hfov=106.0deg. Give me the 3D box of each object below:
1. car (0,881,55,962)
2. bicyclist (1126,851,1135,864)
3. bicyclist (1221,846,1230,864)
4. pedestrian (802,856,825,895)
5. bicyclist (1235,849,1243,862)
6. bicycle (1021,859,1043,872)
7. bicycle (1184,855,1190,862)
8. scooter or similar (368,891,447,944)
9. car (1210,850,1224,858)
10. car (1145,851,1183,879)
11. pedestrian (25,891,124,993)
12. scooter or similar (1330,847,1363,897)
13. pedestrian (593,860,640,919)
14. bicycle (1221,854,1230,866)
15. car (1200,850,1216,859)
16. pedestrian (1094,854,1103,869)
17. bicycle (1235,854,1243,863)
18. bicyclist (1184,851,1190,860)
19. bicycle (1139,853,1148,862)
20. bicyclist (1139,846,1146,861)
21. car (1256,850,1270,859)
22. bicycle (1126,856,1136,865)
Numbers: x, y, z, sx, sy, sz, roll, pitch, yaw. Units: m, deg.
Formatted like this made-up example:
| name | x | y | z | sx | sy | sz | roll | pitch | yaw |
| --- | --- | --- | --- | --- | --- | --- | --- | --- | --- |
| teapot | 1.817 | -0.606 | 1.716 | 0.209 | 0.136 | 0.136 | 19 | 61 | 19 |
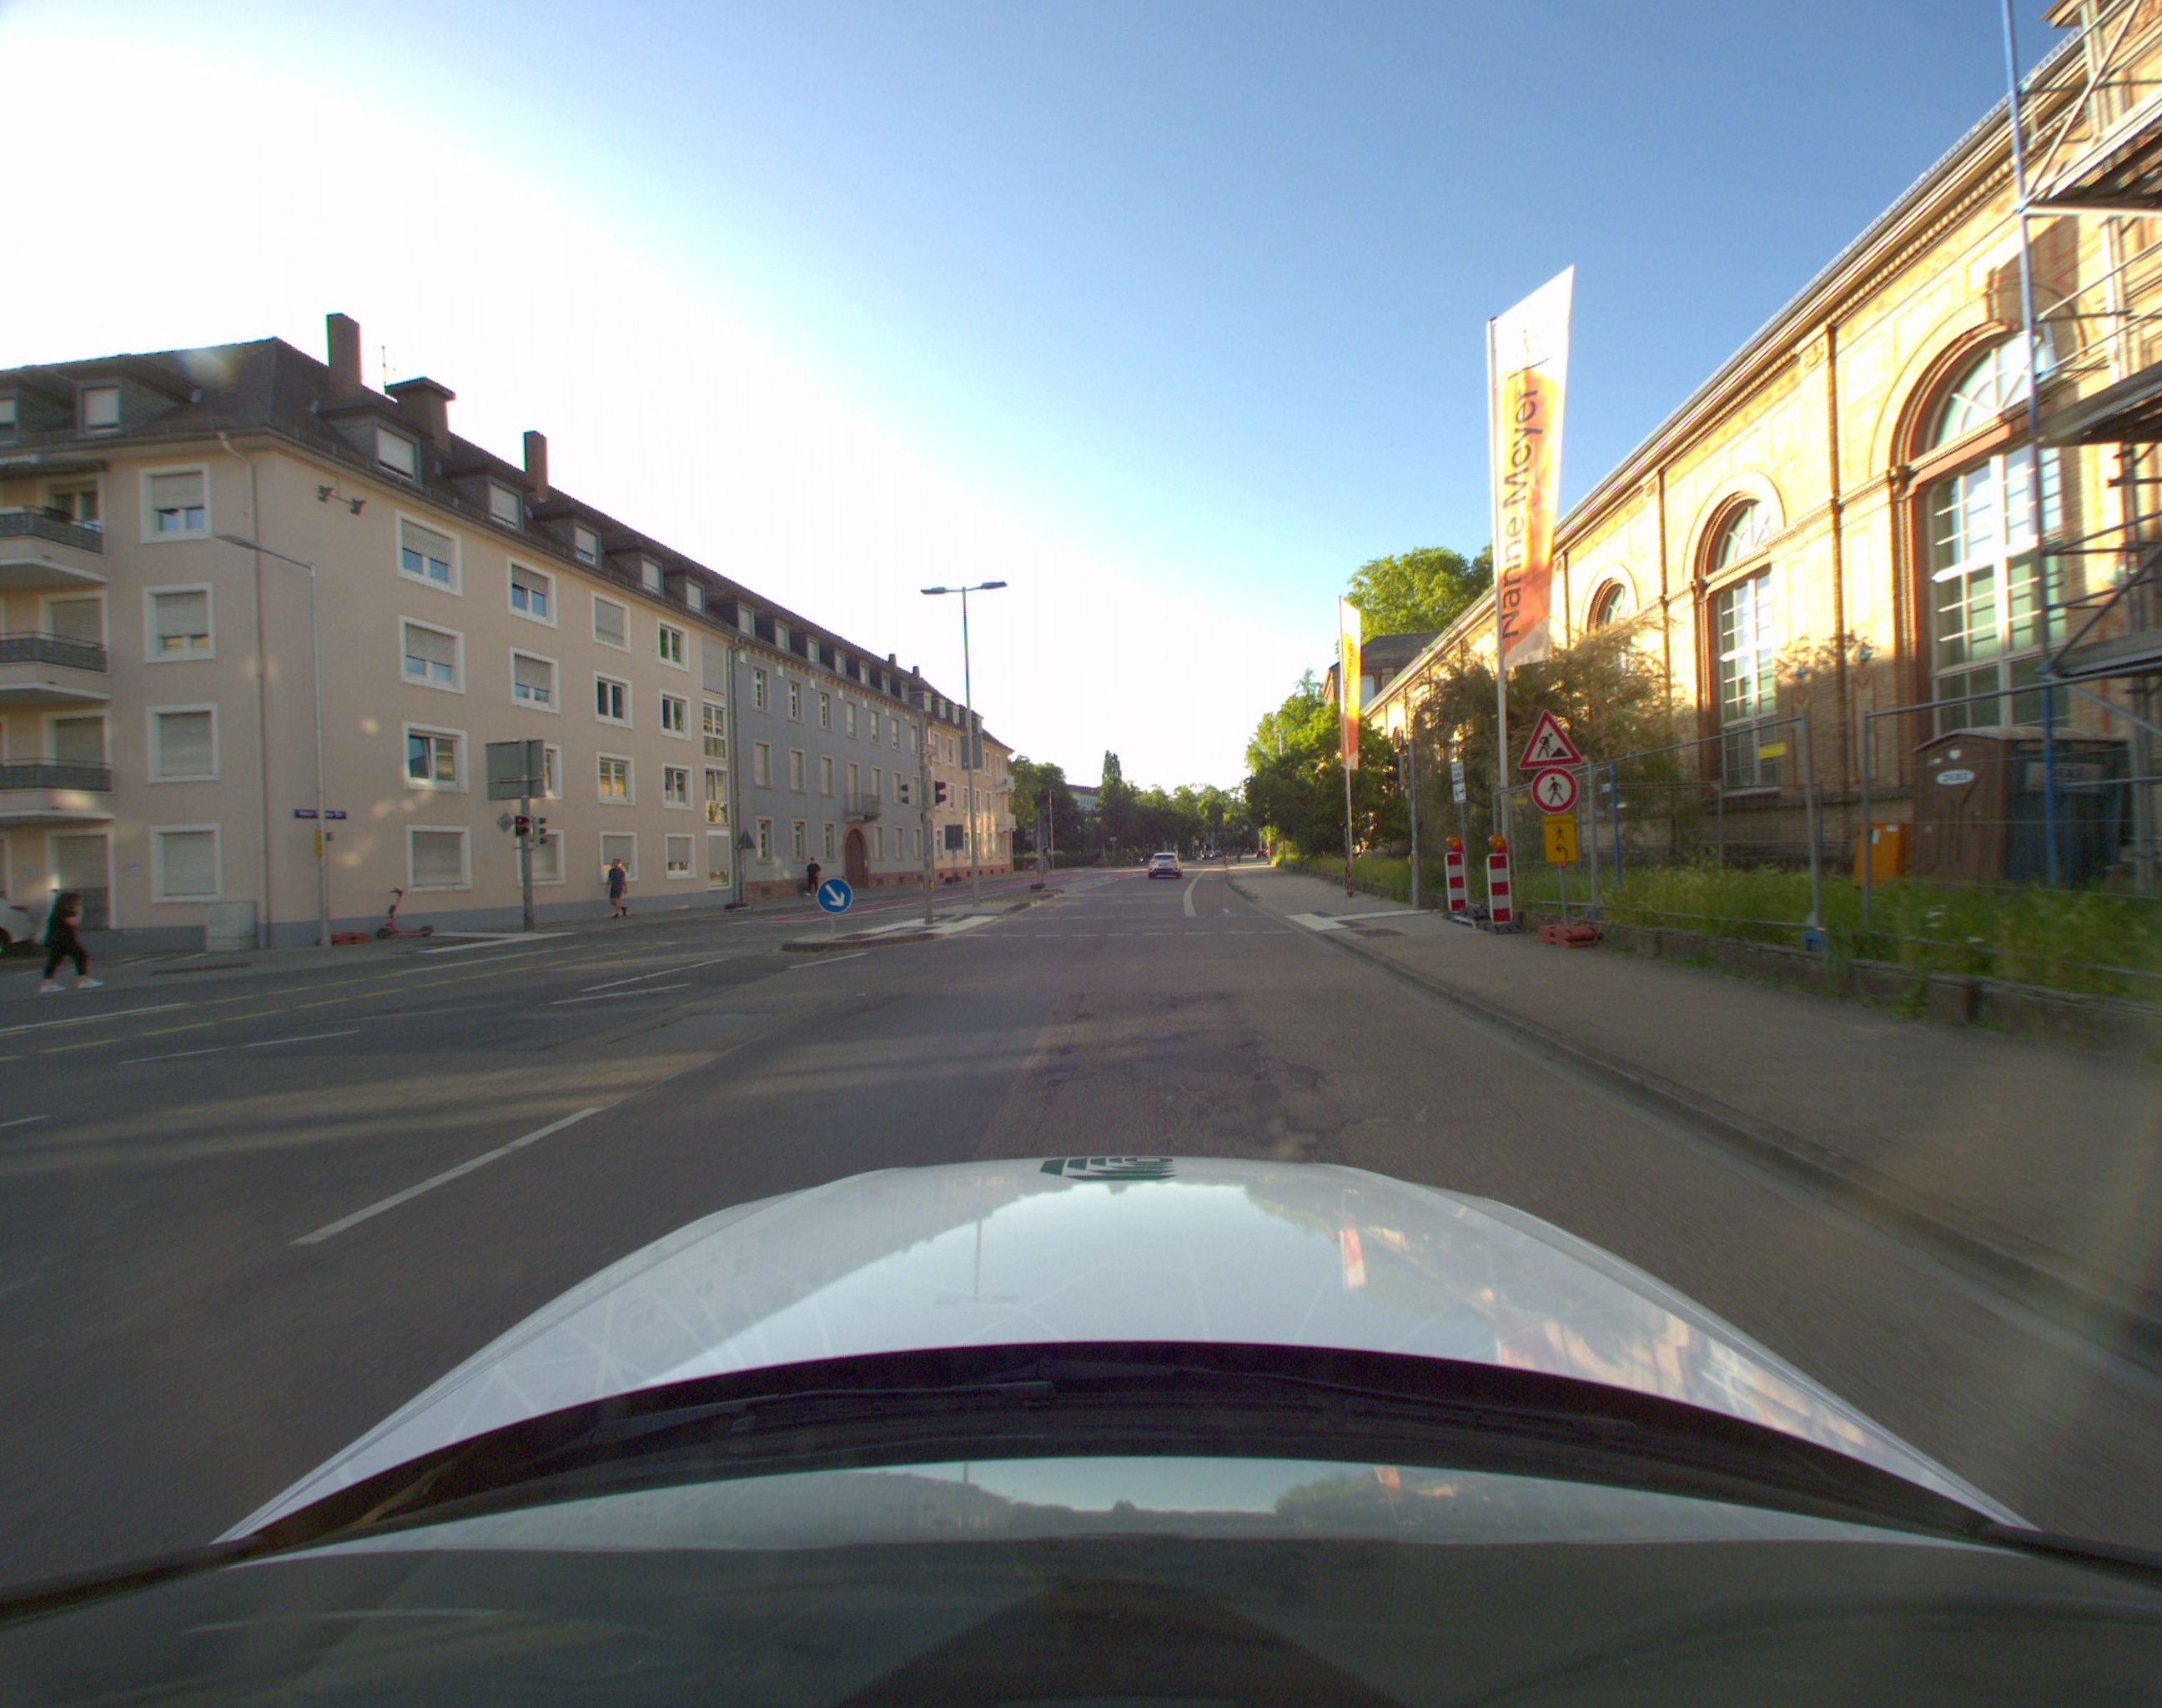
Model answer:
| name | x | y | z | sx | sy | sz | roll | pitch | yaw |
| --- | --- | --- | --- | --- | --- | --- | --- | --- | --- |
| car | -24.051 | 1.504 | 15.895 | 1.984 | 1.686 | 4.621 | -3 | 0 | 5 |
| bicyclist | 5.775 | 0.365 | 95.052 | 0.732 | 1.485 | 0.668 | -4 | -1 | 15 |
| bicyclist | 12.921 | 0.105 | 72.789 | 0.632 | 1.614 | 1.288 | -1 | 0 | 12 |
| pedestrian | -12.948 | 1.043 | 39.454 | 0.627 | 1.846 | 1.016 | 0 | 0 | 10 |
| bicyclist | 18.701 | 0.174 | 96.353 | 0.741 | 1.537 | 0.974 | -2 | 0 | 18 |
| bicycle | -5.264 | 1.228 | 87.813 | 2.302 | 1.230 | 0.563 | -3 | 0 | 16 |
| bicycle | 17.880 | 0.753 | 136.997 | 0.592 | 1.120 | 2.035 | -6 | -1 | 15 |
| scooter or similar | -16.635 | 1.547 | 20.150 | 0.530 | 1.185 | 1.478 | -1 | 0 | 11 |
| car | 25.185 | 0.013 | 150.669 | 1.743 | 1.459 | 4.020 | -3 | 0 | 19 |
| car | 4.967 | 0.616 | 48.203 | 1.982 | 1.453 | 4.010 | -3 | 0 | 9 |
| pedestrian | -16.633 | 1.430 | 13.474 | 0.627 | 1.583 | 0.820 | 0 | 0 | 9 |
| scooter or similar | 7.380 | 0.475 | 22.693 | 0.552 | 1.308 | 1.837 | -3 | 0 | 9 |
| pedestrian | -15.153 | 1.141 | 26.594 | 0.862 | 1.863 | 1.018 | 0 | 0 | 11 |
| bicycle | 12.912 | 0.563 | 72.662 | 0.639 | 1.024 | 2.220 | -1 | 0 | 12 |
| car | 21.092 | 0.087 | 135.010 | 1.797 | 1.419 | 4.576 | -3 | 0 | 18 |
| pedestrian | 2.275 | 0.957 | 107.175 | 0.849 | 1.851 | 1.005 | -3 | -1 | 16 |
| bicycle | 18.699 | 0.517 | 96.325 | 0.747 | 1.026 | 1.878 | -1 | -1 | 18 |
| bicyclist | 17.841 | 0.222 | 137.082 | 0.624 | 1.522 | 0.727 | -5 | -1 | 15 |
| bicycle | 7.370 | 0.411 | 95.676 | 0.642 | 0.995 | 2.116 | -4 | 0 | 12 |
| bicyclist | 7.242 | -0.027 | 95.776 | 0.631 | 1.710 | 0.741 | -5 | -1 | 12 |
| car | 32.017 | 0.042 | 143.464 | 1.913 | 1.533 | 4.019 | -3 | 0 | 18 |
| bicycle | 5.811 | 0.754 | 95.021 | 0.732 | 0.995 | 2.117 | -3 | 1 | 14 |
